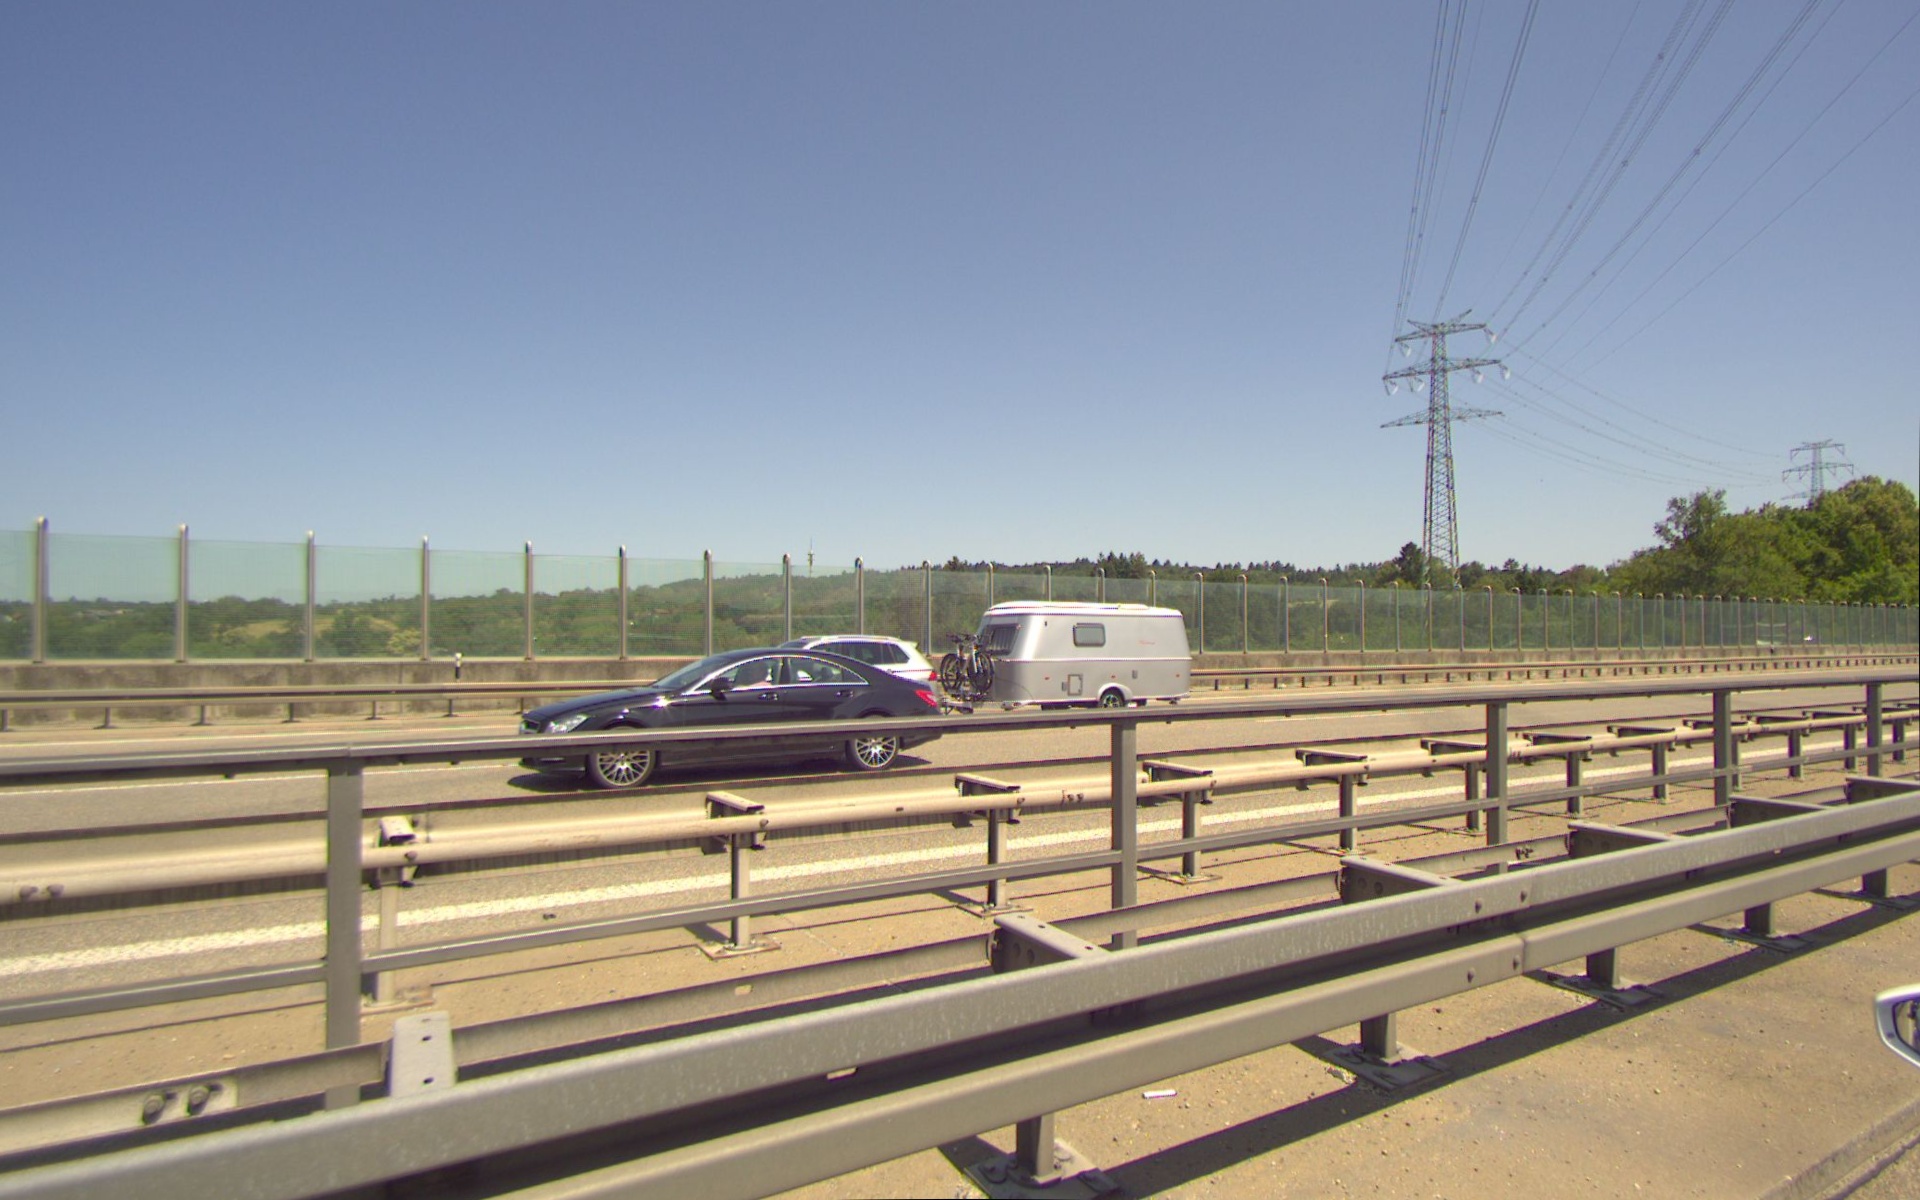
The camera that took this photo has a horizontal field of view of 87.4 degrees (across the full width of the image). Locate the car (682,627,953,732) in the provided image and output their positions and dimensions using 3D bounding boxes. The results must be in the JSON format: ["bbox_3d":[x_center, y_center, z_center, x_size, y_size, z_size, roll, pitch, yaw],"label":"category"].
[{"bbox_3d":[-2.353,1.296,16.896,4.153,1.565,1.847,2,-4,-32],"label":"car"}]

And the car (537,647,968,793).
[{"bbox_3d":[-2.340,1.286,11.761,4.620,1.415,1.847,2,-4,-30],"label":"car"}]

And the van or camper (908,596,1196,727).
[{"bbox_3d":[1.864,1.179,19.464,5.474,2.240,1.984,2,-4,-31],"label":"van or camper"}]
